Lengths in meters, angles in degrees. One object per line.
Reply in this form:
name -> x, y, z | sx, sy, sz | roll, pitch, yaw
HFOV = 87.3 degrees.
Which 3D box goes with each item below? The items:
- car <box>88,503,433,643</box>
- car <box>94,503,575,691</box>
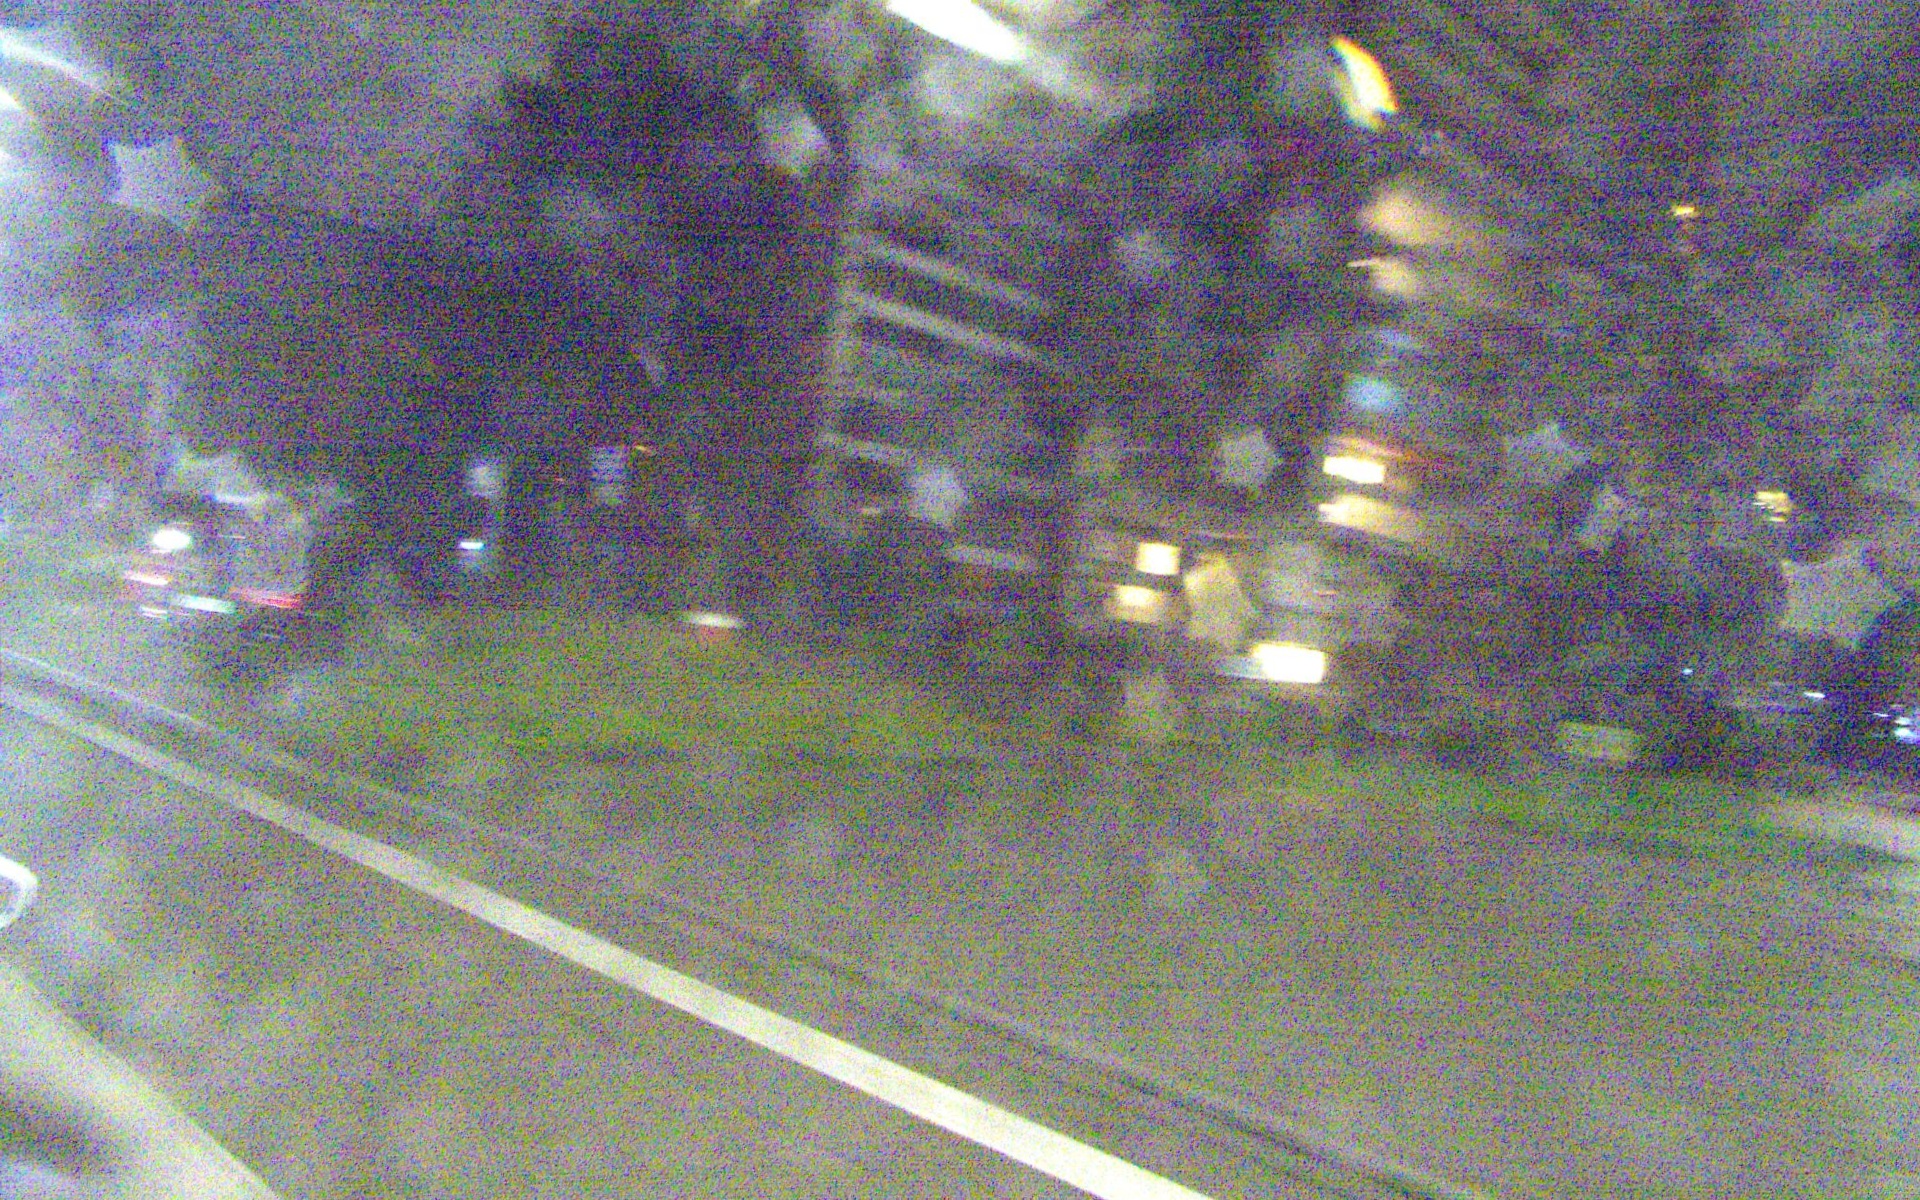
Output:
car -> -9.482, -0.298, 14.029 | 1.627, 1.537, 3.706 | 7, 1, 13
car -> -6.545, 0.003, 11.306 | 1.805, 1.494, 4.601 | 7, 0, 12
